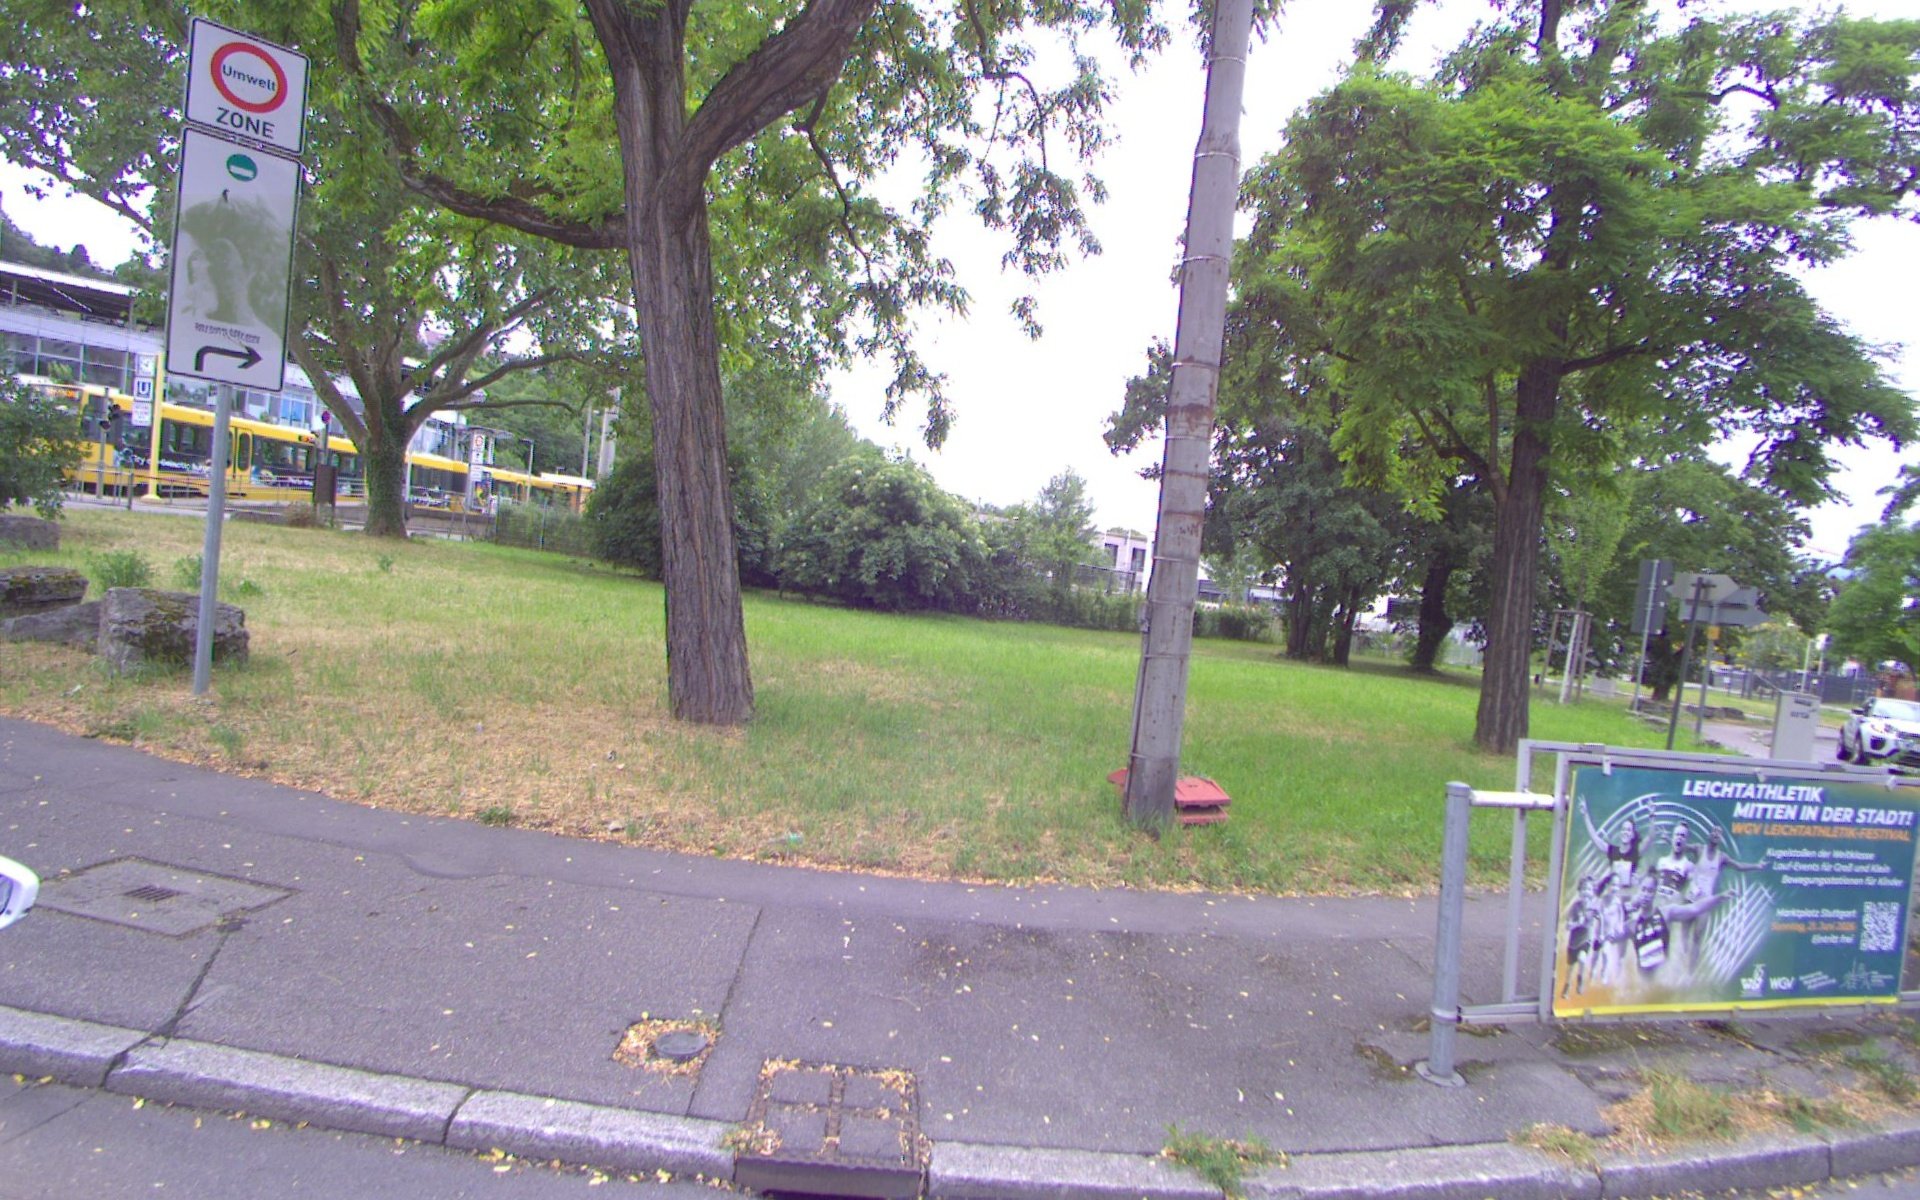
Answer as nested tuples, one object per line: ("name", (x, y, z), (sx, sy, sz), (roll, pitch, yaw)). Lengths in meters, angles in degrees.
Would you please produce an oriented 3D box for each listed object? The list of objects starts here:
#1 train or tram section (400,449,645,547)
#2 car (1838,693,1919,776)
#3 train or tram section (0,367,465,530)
("train or tram section", (-25.187, -5.681, 60.433), (3.215, 3.713, 19.168), (7, 2, 10))
("car", (21.115, 2.985, 22.329), (2.017, 1.555, 3.927), (5, -1, 36))
("train or tram section", (-28.309, -5.537, 41.550), (3.215, 3.713, 19.168), (7, 2, 10))
